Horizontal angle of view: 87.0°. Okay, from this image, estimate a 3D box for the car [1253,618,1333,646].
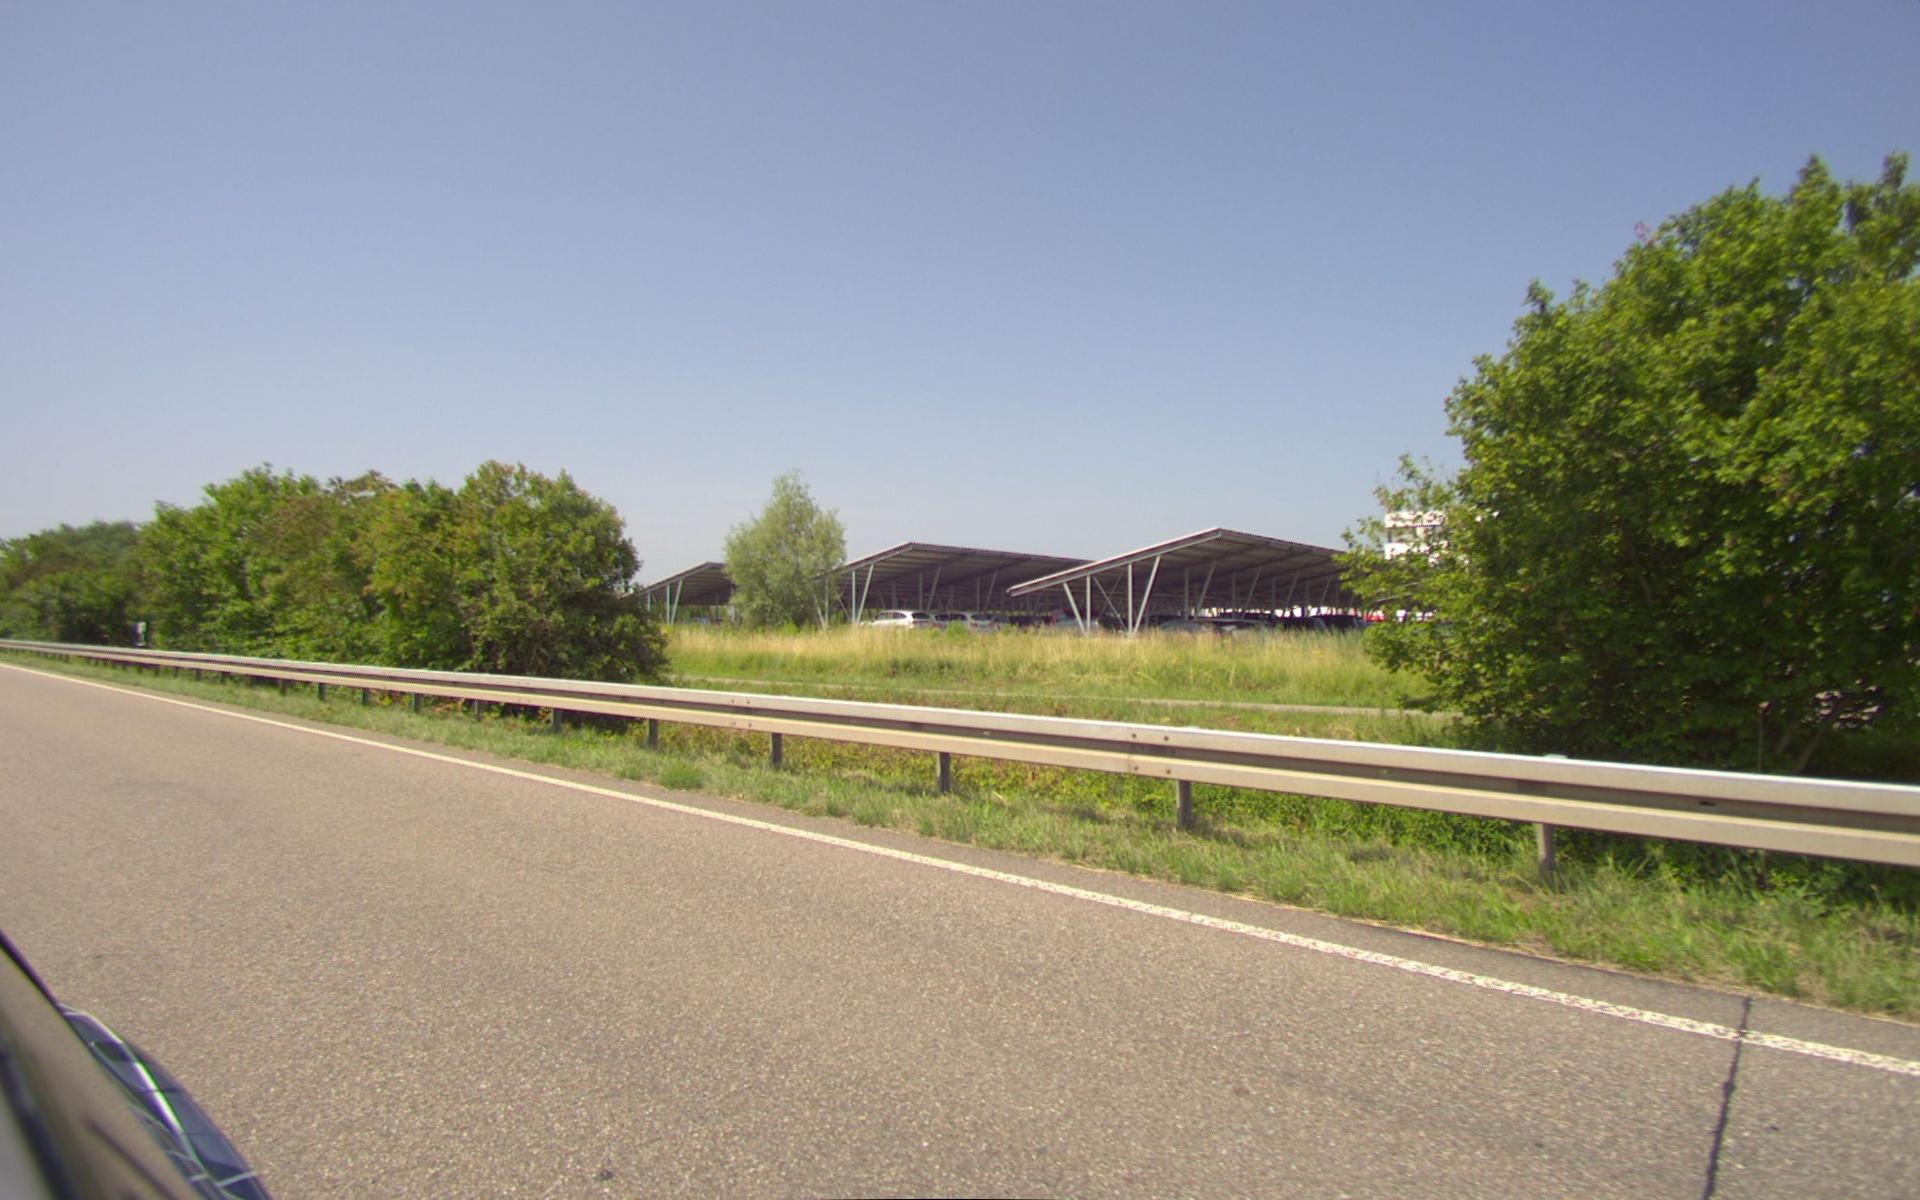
[{"bbox_3d":[16.121,1.552,49.027,3.360,1.301,1.603,-2,-1,38],"label":"car"}]

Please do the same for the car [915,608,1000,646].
[{"bbox_3d":[-0.173,1.478,55.328,4.515,2.029,1.972,-2,-2,42],"label":"car"}]

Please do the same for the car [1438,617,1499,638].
[{"bbox_3d":[40.842,2.173,81.338,3.998,1.589,1.973,-2,0,41],"label":"car"}]

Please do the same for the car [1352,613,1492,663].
[{"bbox_3d":[15.935,1.281,34.972,3.998,1.589,1.973,-2,0,41],"label":"car"}]

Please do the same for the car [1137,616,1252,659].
[{"bbox_3d":[9.333,1.458,40.440,3.998,1.589,1.973,-2,0,41],"label":"car"}]

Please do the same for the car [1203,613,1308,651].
[{"bbox_3d":[13.064,1.394,44.789,3.998,1.589,1.973,-2,0,41],"label":"car"}]

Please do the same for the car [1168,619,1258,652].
[{"bbox_3d":[10.709,1.489,42.897,3.360,1.301,1.603,-2,-1,38],"label":"car"}]

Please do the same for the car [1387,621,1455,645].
[{"bbox_3d":[32.580,2.320,71.586,3.995,1.589,1.974,-2,-1,39],"label":"car"}]

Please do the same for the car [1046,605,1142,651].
[{"bbox_3d":[6.205,1.295,46.957,3.991,2.029,1.976,-1,-2,36],"label":"car"}]

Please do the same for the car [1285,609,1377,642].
[{"bbox_3d":[19.108,1.294,52.229,3.998,1.589,1.973,-2,0,41],"label":"car"}]

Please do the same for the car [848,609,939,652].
[{"bbox_3d":[-3.391,1.530,50.946,4.515,2.029,1.972,-2,-2,42],"label":"car"}]
